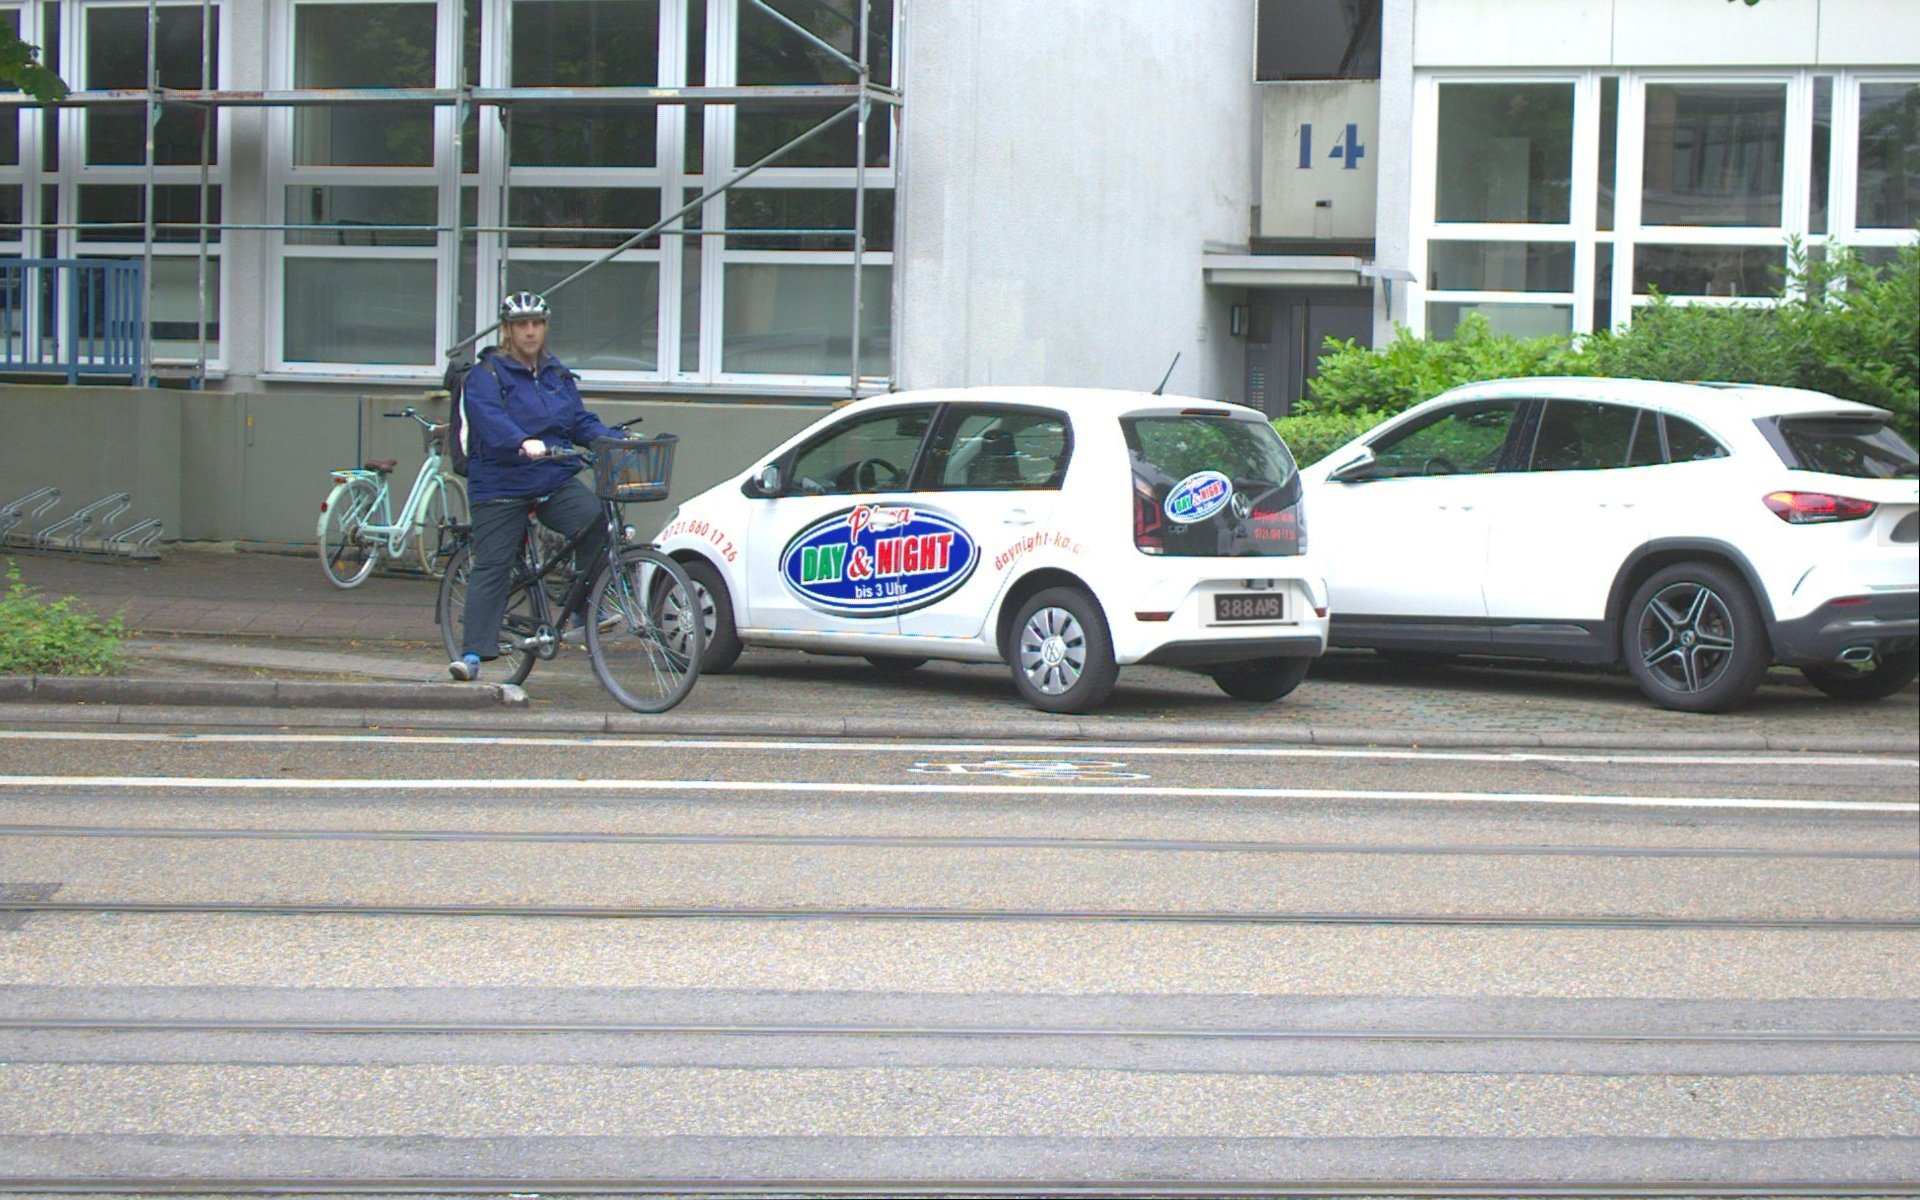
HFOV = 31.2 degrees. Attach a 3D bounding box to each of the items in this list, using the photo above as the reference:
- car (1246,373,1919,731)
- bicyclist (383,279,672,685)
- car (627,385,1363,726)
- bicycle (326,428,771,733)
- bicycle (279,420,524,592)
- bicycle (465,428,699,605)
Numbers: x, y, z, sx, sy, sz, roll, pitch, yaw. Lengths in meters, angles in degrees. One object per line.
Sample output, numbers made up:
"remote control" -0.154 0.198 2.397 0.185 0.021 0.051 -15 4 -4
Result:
"car" 3.271 -0.315 17.286 3.405 1.612 1.553 4 4 43
"bicyclist" -1.883 -0.528 14.947 0.896 1.692 0.832 4 4 42
"car" 0.102 -0.290 16.691 3.405 1.468 1.553 4 4 43
"bicycle" -1.807 -0.120 14.894 1.914 1.170 0.820 5 5 41
"bicycle" -3.686 -0.656 22.901 0.645 1.071 2.310 2 4 17
"bicycle" -2.432 -0.574 22.412 0.645 1.071 2.310 2 4 17
